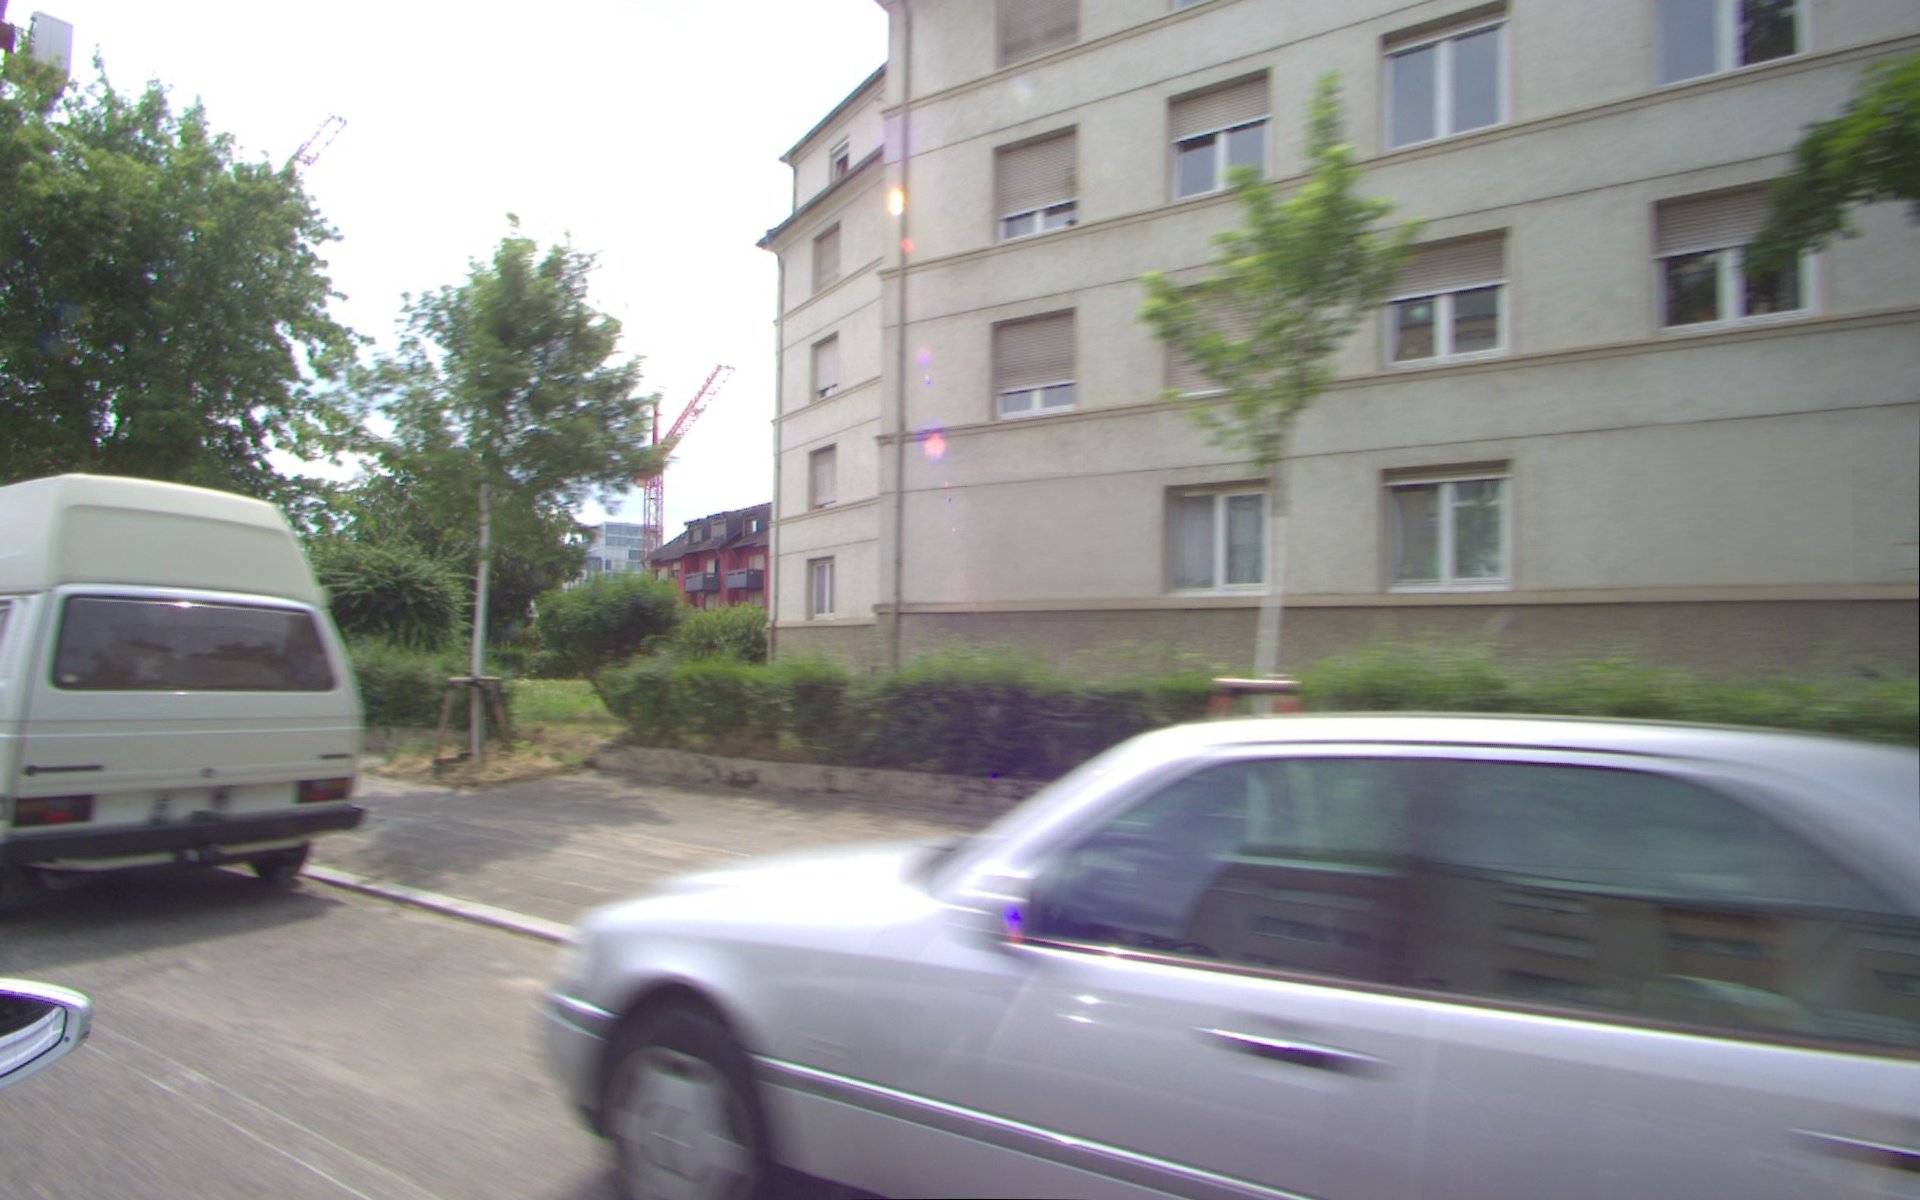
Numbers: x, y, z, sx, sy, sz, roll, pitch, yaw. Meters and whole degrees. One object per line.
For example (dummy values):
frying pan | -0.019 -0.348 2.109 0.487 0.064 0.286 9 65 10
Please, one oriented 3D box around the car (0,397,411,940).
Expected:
car | -6.167 0.460 6.927 4.835 2.632 1.894 -1 -6 32

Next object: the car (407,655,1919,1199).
car | 0.765 0.940 2.559 4.575 1.468 1.671 -1 -5 31
